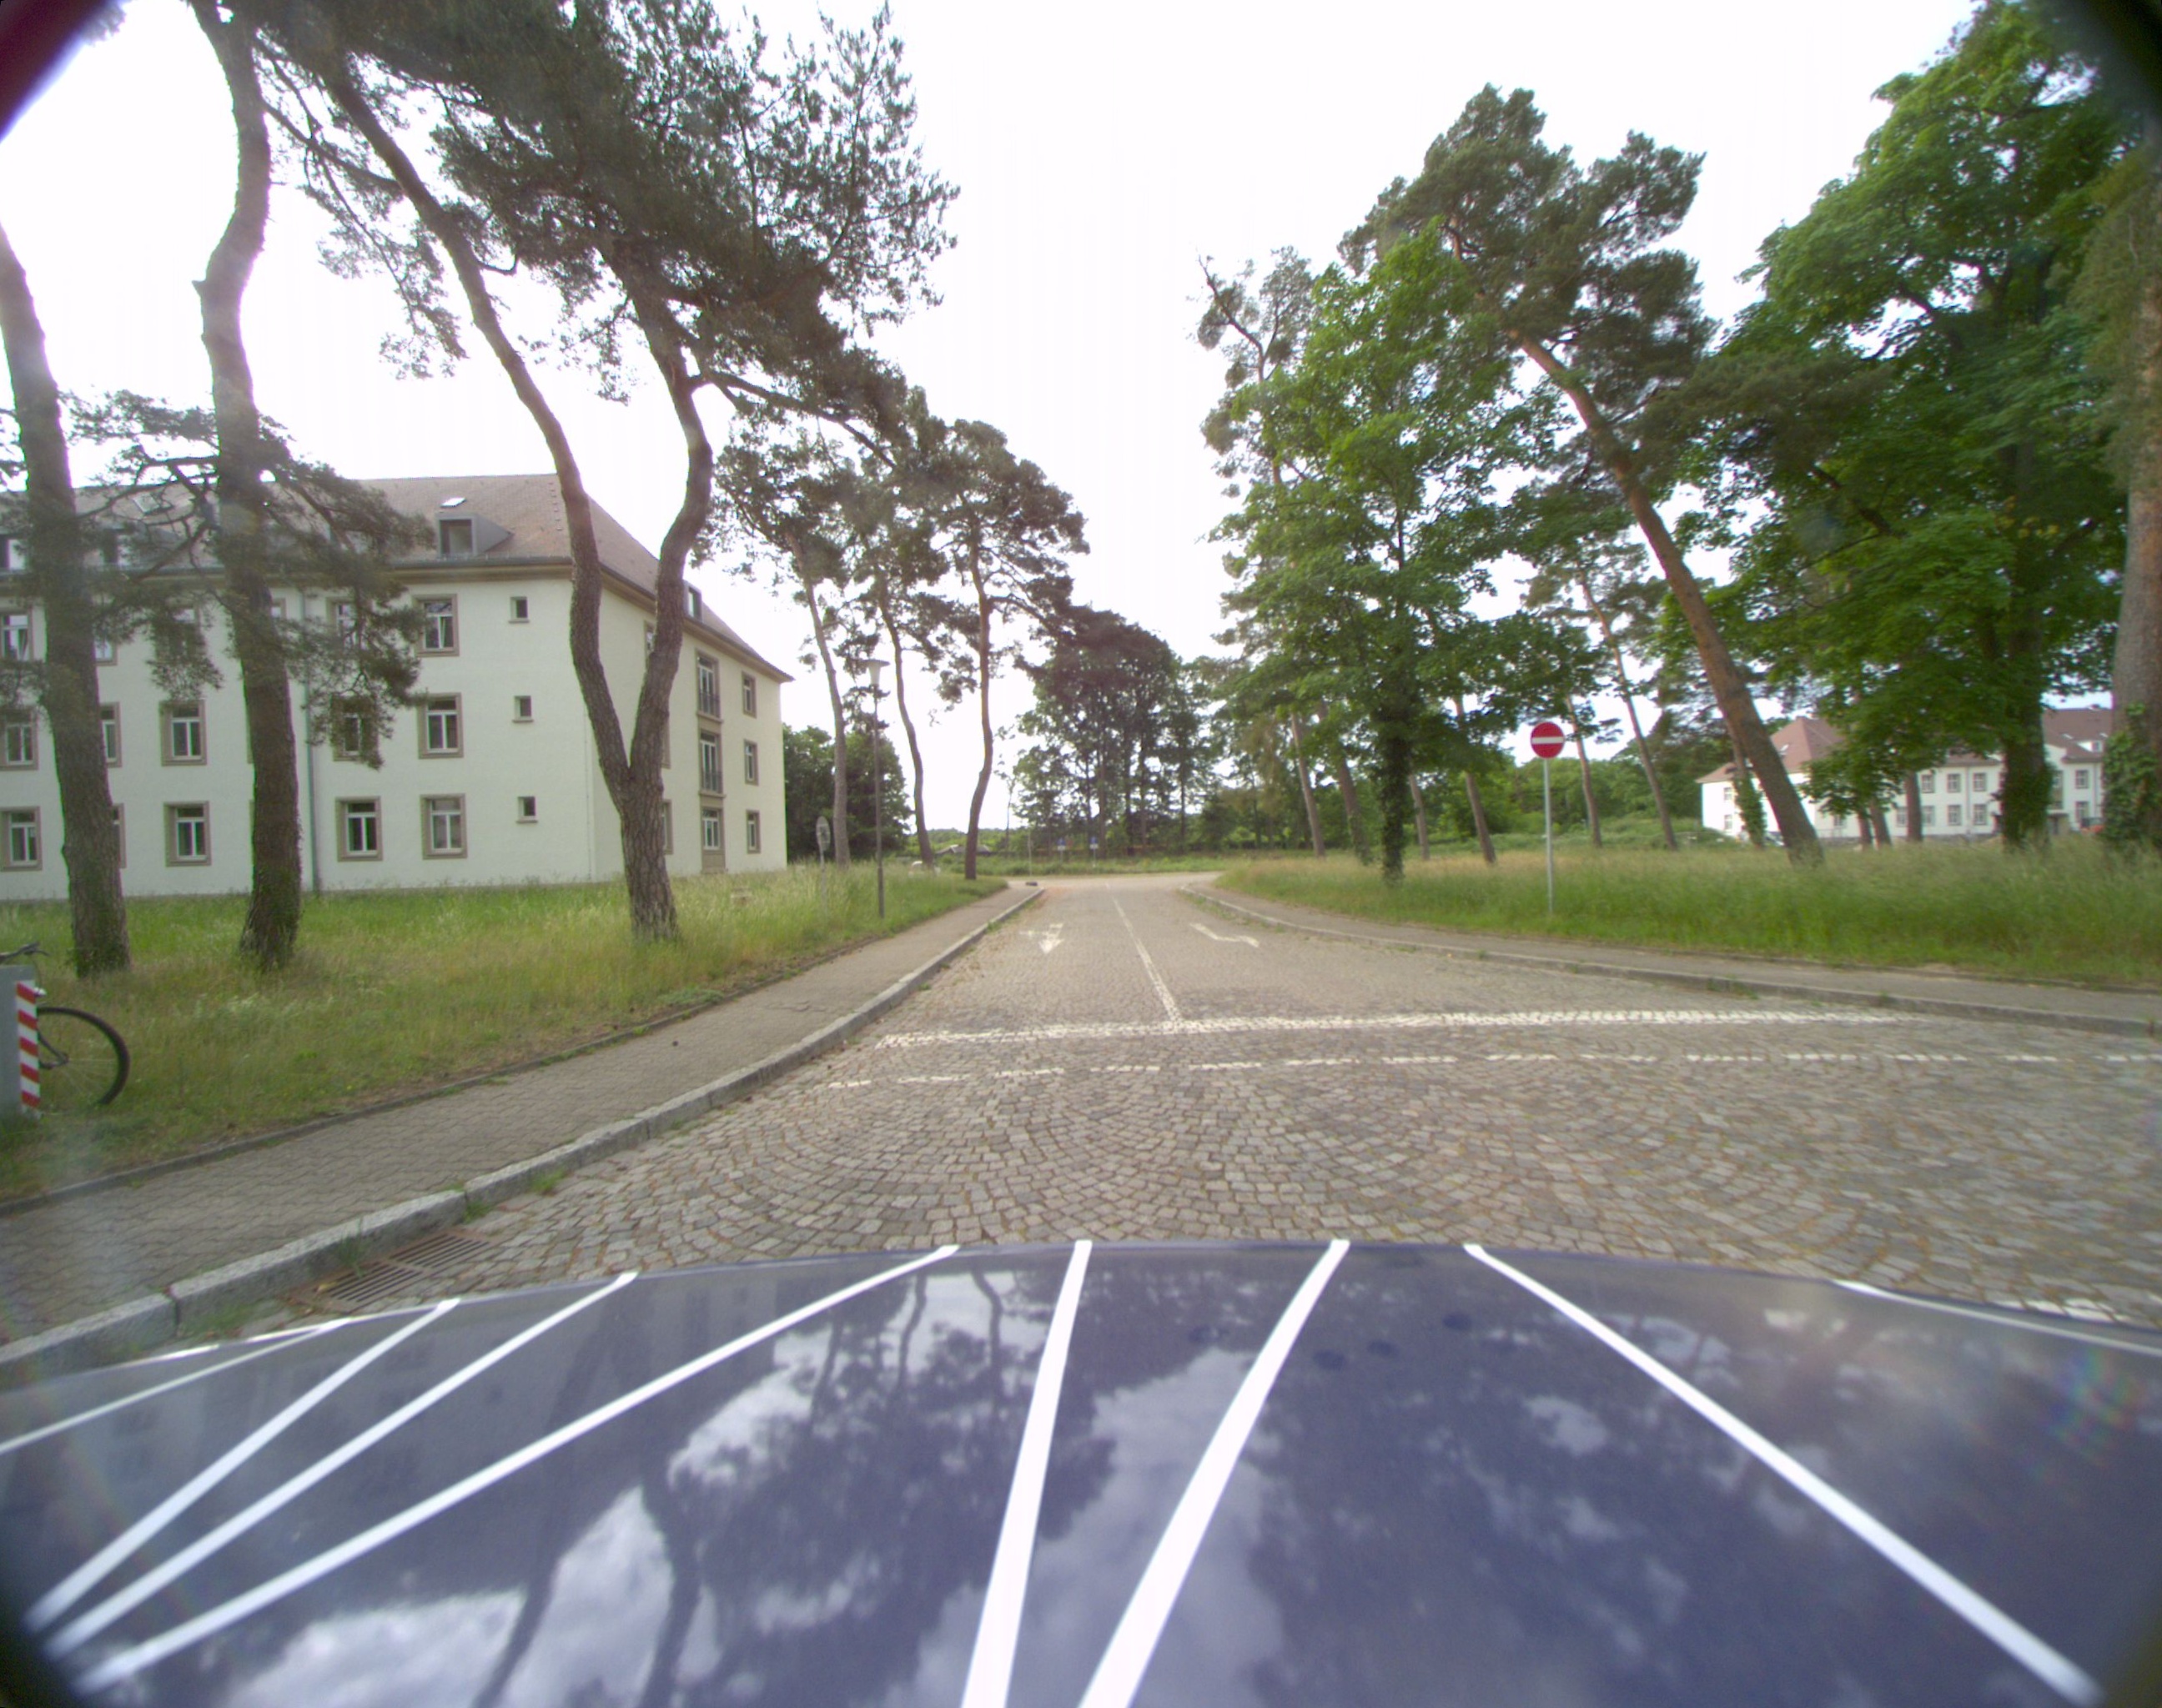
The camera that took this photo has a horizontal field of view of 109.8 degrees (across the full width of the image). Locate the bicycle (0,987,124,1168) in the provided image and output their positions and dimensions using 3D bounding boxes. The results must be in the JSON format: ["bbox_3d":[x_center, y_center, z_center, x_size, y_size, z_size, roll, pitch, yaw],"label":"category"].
[{"bbox_3d":[-6.616,1.260,4.288,1.704,0.869,0.573,-2,1,1],"label":"bicycle"}]

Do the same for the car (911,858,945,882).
[{"bbox_3d":[-10.887,1.124,54.387,1.641,1.426,3.277,-2,2,1],"label":"car"}]
